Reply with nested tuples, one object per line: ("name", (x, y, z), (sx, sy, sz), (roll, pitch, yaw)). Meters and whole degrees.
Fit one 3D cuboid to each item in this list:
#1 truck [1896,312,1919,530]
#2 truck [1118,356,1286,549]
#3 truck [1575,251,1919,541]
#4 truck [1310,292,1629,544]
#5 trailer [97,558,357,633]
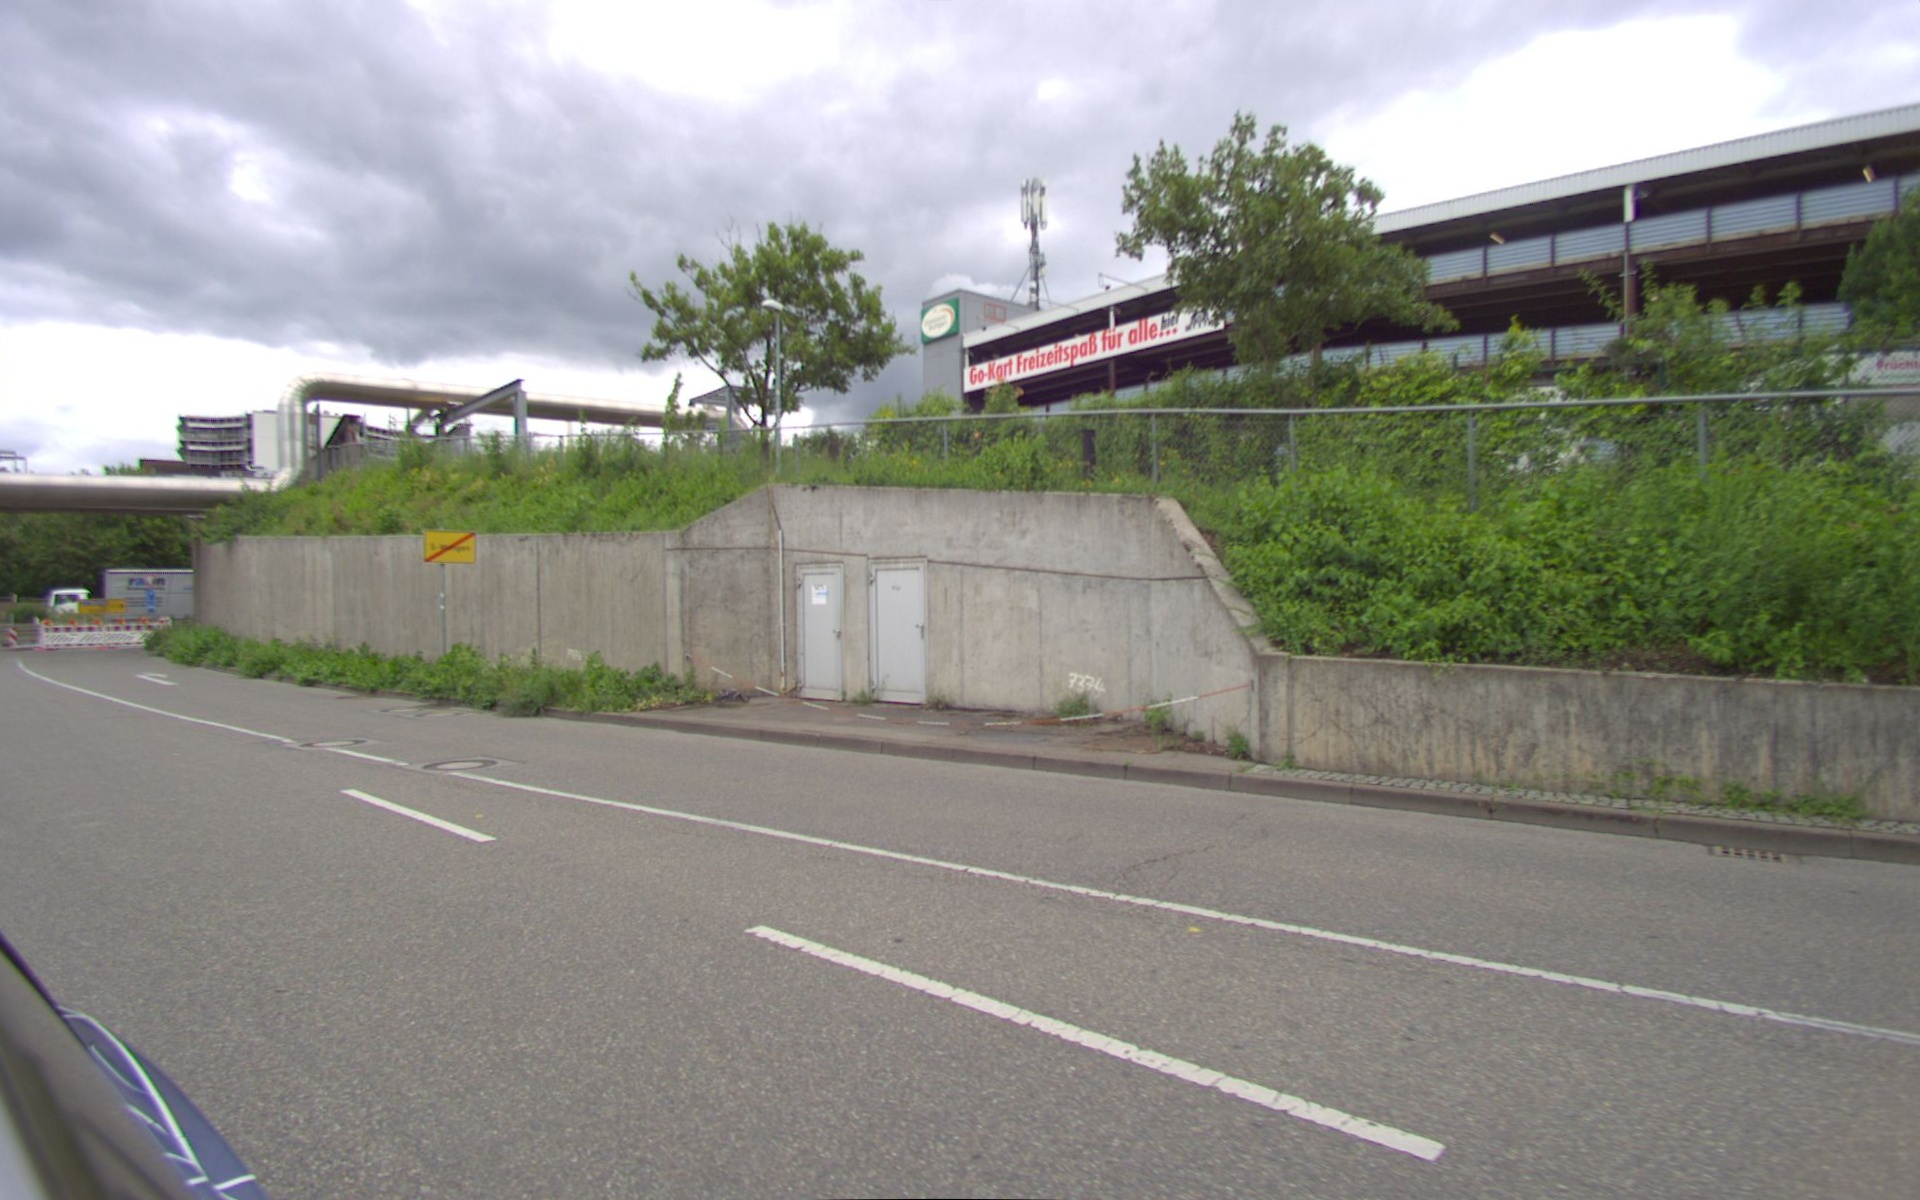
("truck", (16.843, -2.873, 12.985), (3.016, 3.564, 7.849), (1, 1, 7))
("truck", (5.419, -3.129, 24.077), (3.016, 3.564, 7.849), (1, 1, 7))
("truck", (14.100, -2.965, 17.404), (3.016, 3.564, 7.849), (1, 1, 7))
("truck", (9.227, -3.029, 19.633), (3.016, 3.564, 7.849), (1, 1, 7))
("trailer", (-46.342, -0.390, 64.605), (3.168, 4.356, 13.069), (2, 2, 45))
